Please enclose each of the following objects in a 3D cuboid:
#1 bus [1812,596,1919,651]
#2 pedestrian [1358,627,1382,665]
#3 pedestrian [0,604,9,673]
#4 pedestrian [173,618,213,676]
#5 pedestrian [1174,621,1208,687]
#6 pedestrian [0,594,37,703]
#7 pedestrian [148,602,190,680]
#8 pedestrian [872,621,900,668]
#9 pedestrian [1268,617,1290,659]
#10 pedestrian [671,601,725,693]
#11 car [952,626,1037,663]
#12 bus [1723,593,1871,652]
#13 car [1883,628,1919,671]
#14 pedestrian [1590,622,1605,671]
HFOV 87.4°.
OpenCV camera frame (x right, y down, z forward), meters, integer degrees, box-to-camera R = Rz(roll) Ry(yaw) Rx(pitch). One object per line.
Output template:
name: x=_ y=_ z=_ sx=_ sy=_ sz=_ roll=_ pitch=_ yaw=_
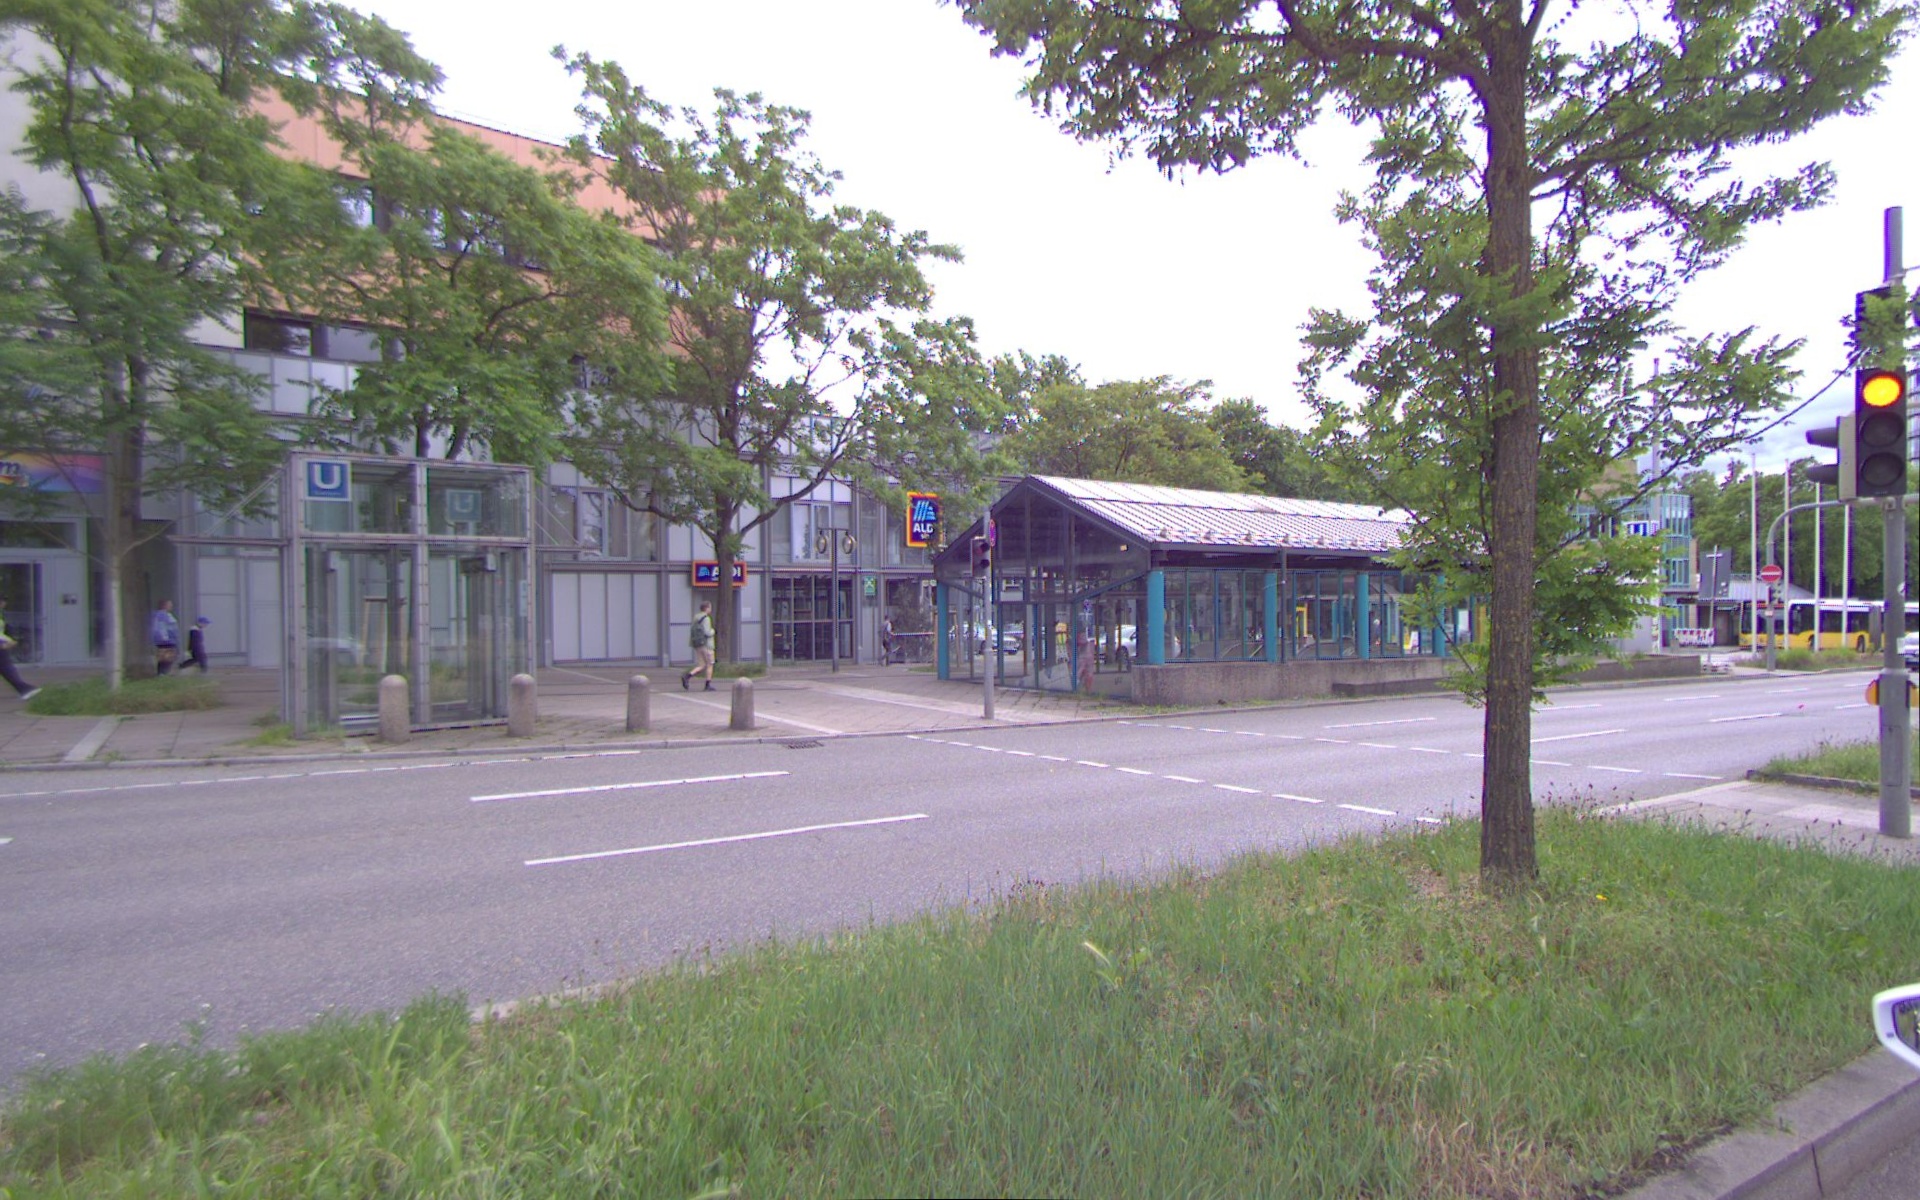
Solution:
bus: x=57.932 y=1.544 z=63.771 sx=7.771 sy=3.313 sz=2.980 roll=1 pitch=-1 yaw=-26
pedestrian: x=17.459 y=1.970 z=42.799 sx=0.651 sy=1.591 sz=0.633 roll=2 pitch=0 yaw=-20
pedestrian: x=-19.765 y=0.764 z=20.297 sx=0.689 sy=1.393 sz=0.578 roll=1 pitch=-1 yaw=-37
pedestrian: x=-15.993 y=0.976 z=20.945 sx=0.617 sy=1.197 sz=0.417 roll=1 pitch=-1 yaw=-40
pedestrian: x=6.345 y=1.463 z=27.588 sx=0.748 sy=1.786 sz=0.525 roll=1 pitch=-1 yaw=-36
pedestrian: x=-14.954 y=0.747 z=15.643 sx=0.714 sy=1.672 sz=0.672 roll=1 pitch=0 yaw=-34
pedestrian: x=-15.849 y=0.814 z=20.121 sx=0.617 sy=1.523 sz=0.562 roll=1 pitch=-1 yaw=-40
pedestrian: x=-2.409 y=1.443 z=32.717 sx=0.748 sy=1.499 sz=0.525 roll=1 pitch=-1 yaw=-36
pedestrian: x=12.698 y=1.507 z=39.994 sx=0.703 sy=1.677 sz=0.517 roll=1 pitch=0 yaw=-37
pedestrian: x=-5.402 y=0.958 z=20.726 sx=0.530 sy=1.857 sz=0.916 roll=0 pitch=-1 yaw=44
car: x=1.662 y=2.193 z=50.385 sx=1.769 sy=1.710 sz=4.838 roll=1 pitch=-1 yaw=-33
bus: x=49.935 y=1.383 z=59.831 sx=10.036 sy=3.293 sz=2.980 roll=1 pitch=-1 yaw=-26
car: x=37.559 y=1.915 z=39.171 sx=3.316 sy=1.599 sz=1.673 roll=1 pitch=-1 yaw=-36
pedestrian: x=21.022 y=1.524 z=33.109 sx=0.412 sy=1.612 sz=0.356 roll=0 pitch=-1 yaw=31
